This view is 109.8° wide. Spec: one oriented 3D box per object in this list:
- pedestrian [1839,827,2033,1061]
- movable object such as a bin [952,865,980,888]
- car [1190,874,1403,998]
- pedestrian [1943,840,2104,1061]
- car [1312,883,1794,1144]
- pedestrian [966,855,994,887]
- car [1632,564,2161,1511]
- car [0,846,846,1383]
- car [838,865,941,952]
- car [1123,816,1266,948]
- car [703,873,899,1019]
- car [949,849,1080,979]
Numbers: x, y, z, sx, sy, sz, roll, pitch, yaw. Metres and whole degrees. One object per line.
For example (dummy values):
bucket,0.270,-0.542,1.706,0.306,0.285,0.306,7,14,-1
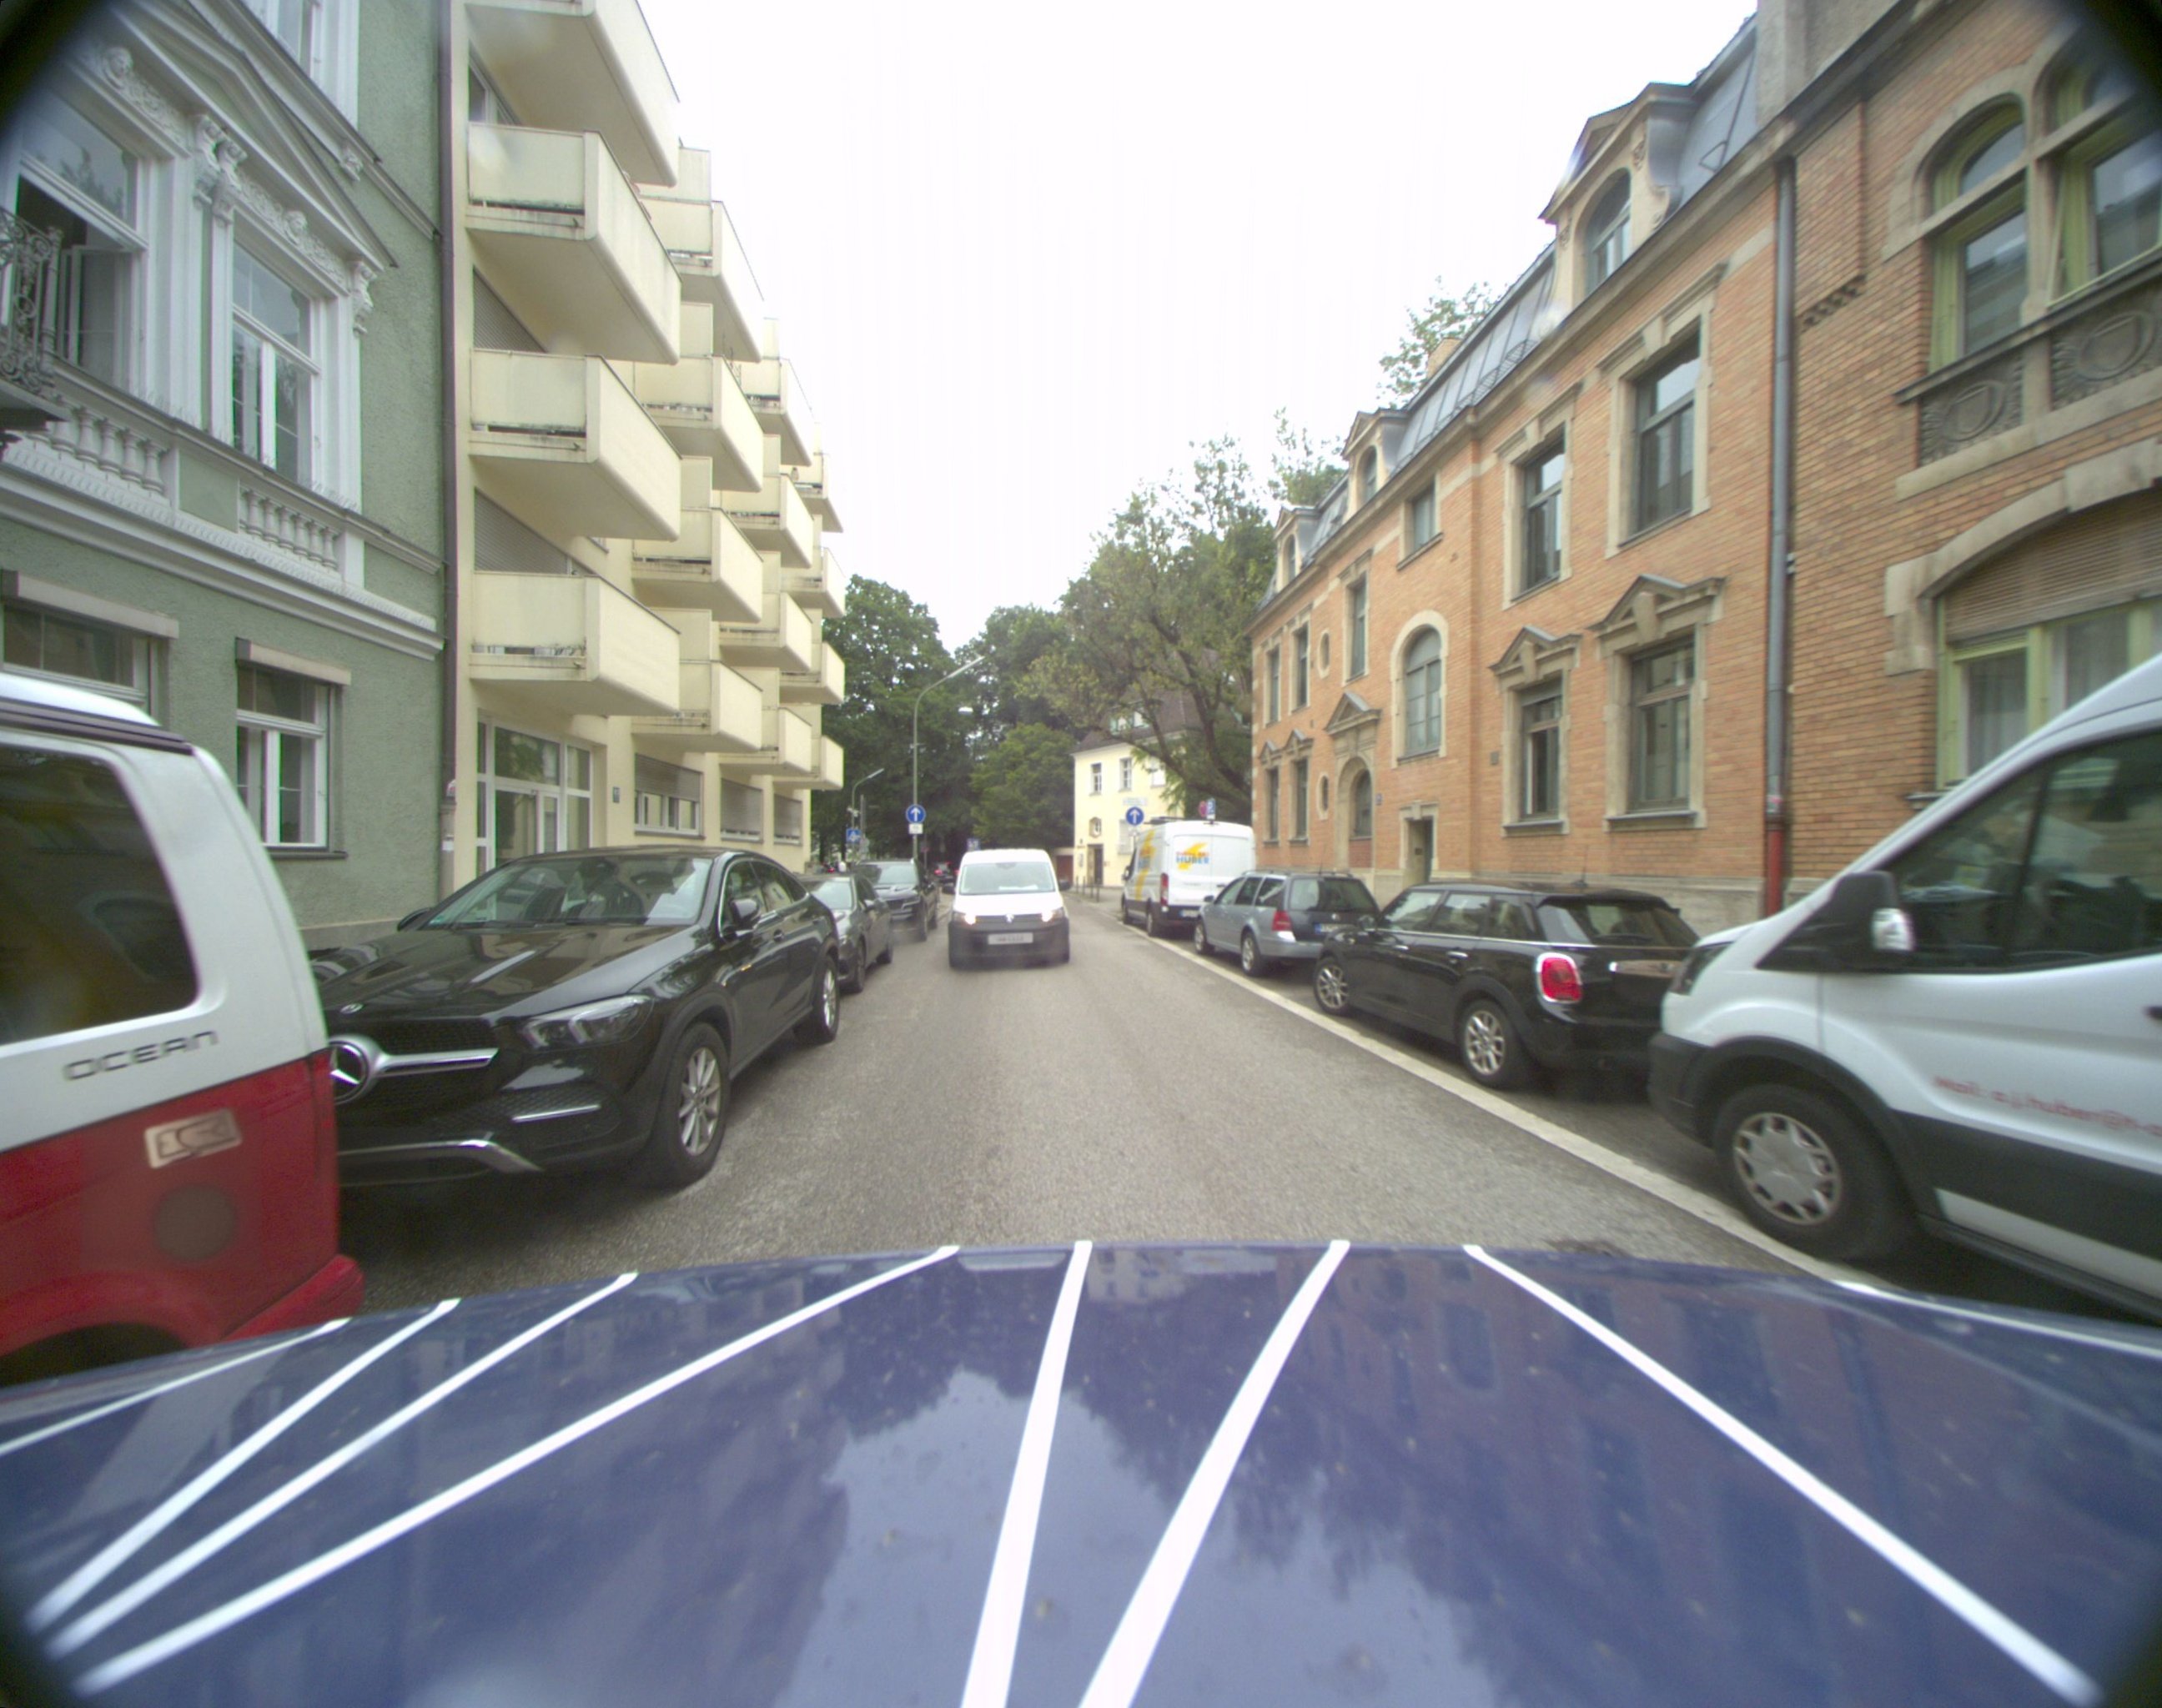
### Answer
pedestrian,6.310,0.637,5.643,0.634,1.622,0.675,2,0,-5
movable object such as a bin,-6.539,1.267,43.210,1.093,1.255,1.079,-1,1,42
car,2.994,1.086,11.484,1.695,1.434,3.982,2,-1,-6
pedestrian,7.235,0.719,5.851,0.634,1.622,0.467,2,0,-5
car,3.403,1.036,6.335,1.527,1.434,3.539,2,-1,-6
pedestrian,-5.837,1.003,44.004,1.090,1.789,1.079,-1,1,41
car,3.894,0.490,1.128,1.987,2.463,5.220,1,0,-5
car,-2.960,0.906,4.917,1.833,1.747,4.551,-2,0,-6
car,-4.001,1.060,16.397,1.552,1.562,3.976,-2,0,-6
car,2.397,0.598,17.306,2.120,2.525,4.419,3,-1,-5
car,-3.584,1.073,10.458,1.552,1.488,3.976,-2,0,-6
car,-1.096,0.837,12.603,1.777,1.761,3.998,-2,0,-5
